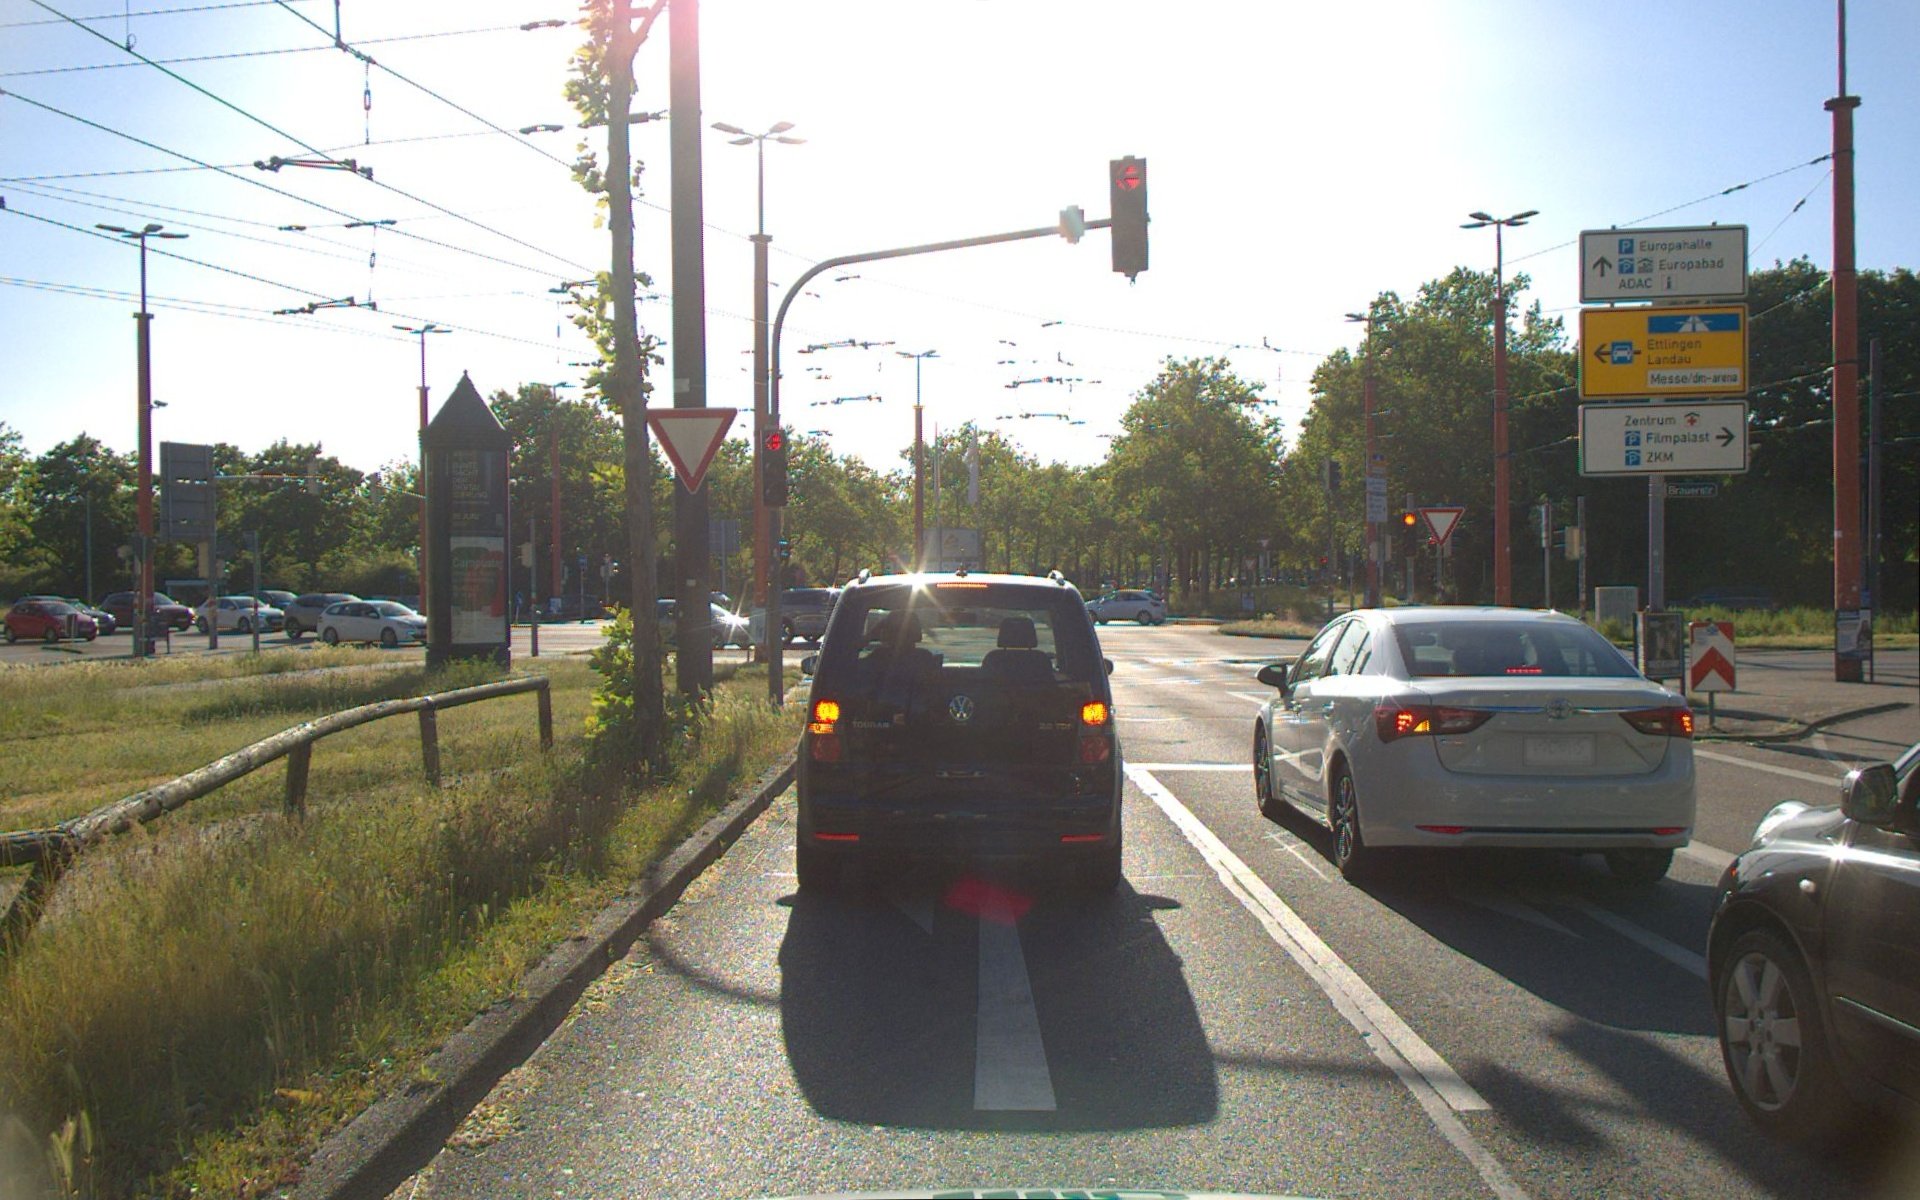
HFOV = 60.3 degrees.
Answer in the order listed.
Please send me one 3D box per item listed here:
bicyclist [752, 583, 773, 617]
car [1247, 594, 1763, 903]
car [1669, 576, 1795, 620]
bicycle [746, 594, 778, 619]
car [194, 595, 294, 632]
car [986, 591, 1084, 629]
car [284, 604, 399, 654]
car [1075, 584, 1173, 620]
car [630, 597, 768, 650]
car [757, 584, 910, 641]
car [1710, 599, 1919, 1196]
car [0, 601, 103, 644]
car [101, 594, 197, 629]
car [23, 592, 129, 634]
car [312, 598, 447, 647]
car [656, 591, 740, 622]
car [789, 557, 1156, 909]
[{"bbox_3d":[-11.571,-0.003,96.829,0.955,1.937,1.051,0,0,12],"label":"bicyclist"},{"bbox_3d":[3.019,0.727,10.179,1.762,1.465,4.326,1,0,0],"label":"car"},{"bbox_3d":[27.801,-0.088,59.590,4.055,1.537,1.654,0,0,28],"label":"car"},{"bbox_3d":[-11.578,0.364,96.788,0.955,1.413,2.982,0,0,12],"label":"bicycle"},{"bbox_3d":[-29.402,0.533,67.920,4.060,1.440,1.542,0,0,26],"label":"car"},{"bbox_3d":[3.094,0.394,68.455,3.715,1.537,1.656,0,0,23],"label":"car"},{"bbox_3d":[-22.571,1.041,60.308,4.248,1.721,1.653,0,0,32],"label":"car"},{"bbox_3d":[7.013,0.076,70.650,3.837,1.483,1.655,0,0,26],"label":"car"},{"bbox_3d":[-7.674,0.656,48.532,3.755,1.466,1.655,0,0,27],"label":"car"},{"bbox_3d":[-3.893,0.355,50.736,4.541,1.676,1.654,0,0,30],"label":"car"},{"bbox_3d":[3.140,0.741,3.482,1.544,1.465,3.441,1,0,0],"label":"car"},{"bbox_3d":[-34.428,0.821,62.503,4.107,1.546,1.654,0,0,30],"label":"car"},{"bbox_3d":[-34.629,0.464,70.627,4.060,1.440,1.542,0,0,26],"label":"car"},{"bbox_3d":[-36.570,0.507,68.408,4.541,1.676,1.753,0,0,30],"label":"car"},{"bbox_3d":[-19.275,0.711,54.869,4.536,1.546,1.654,0,0,30],"label":"car"},{"bbox_3d":[-12.837,0.289,81.062,3.837,1.483,1.655,0,0,26],"label":"car"},{"bbox_3d":[0.071,0.634,9.957,1.703,1.630,4.326,1,0,0],"label":"car"}]
